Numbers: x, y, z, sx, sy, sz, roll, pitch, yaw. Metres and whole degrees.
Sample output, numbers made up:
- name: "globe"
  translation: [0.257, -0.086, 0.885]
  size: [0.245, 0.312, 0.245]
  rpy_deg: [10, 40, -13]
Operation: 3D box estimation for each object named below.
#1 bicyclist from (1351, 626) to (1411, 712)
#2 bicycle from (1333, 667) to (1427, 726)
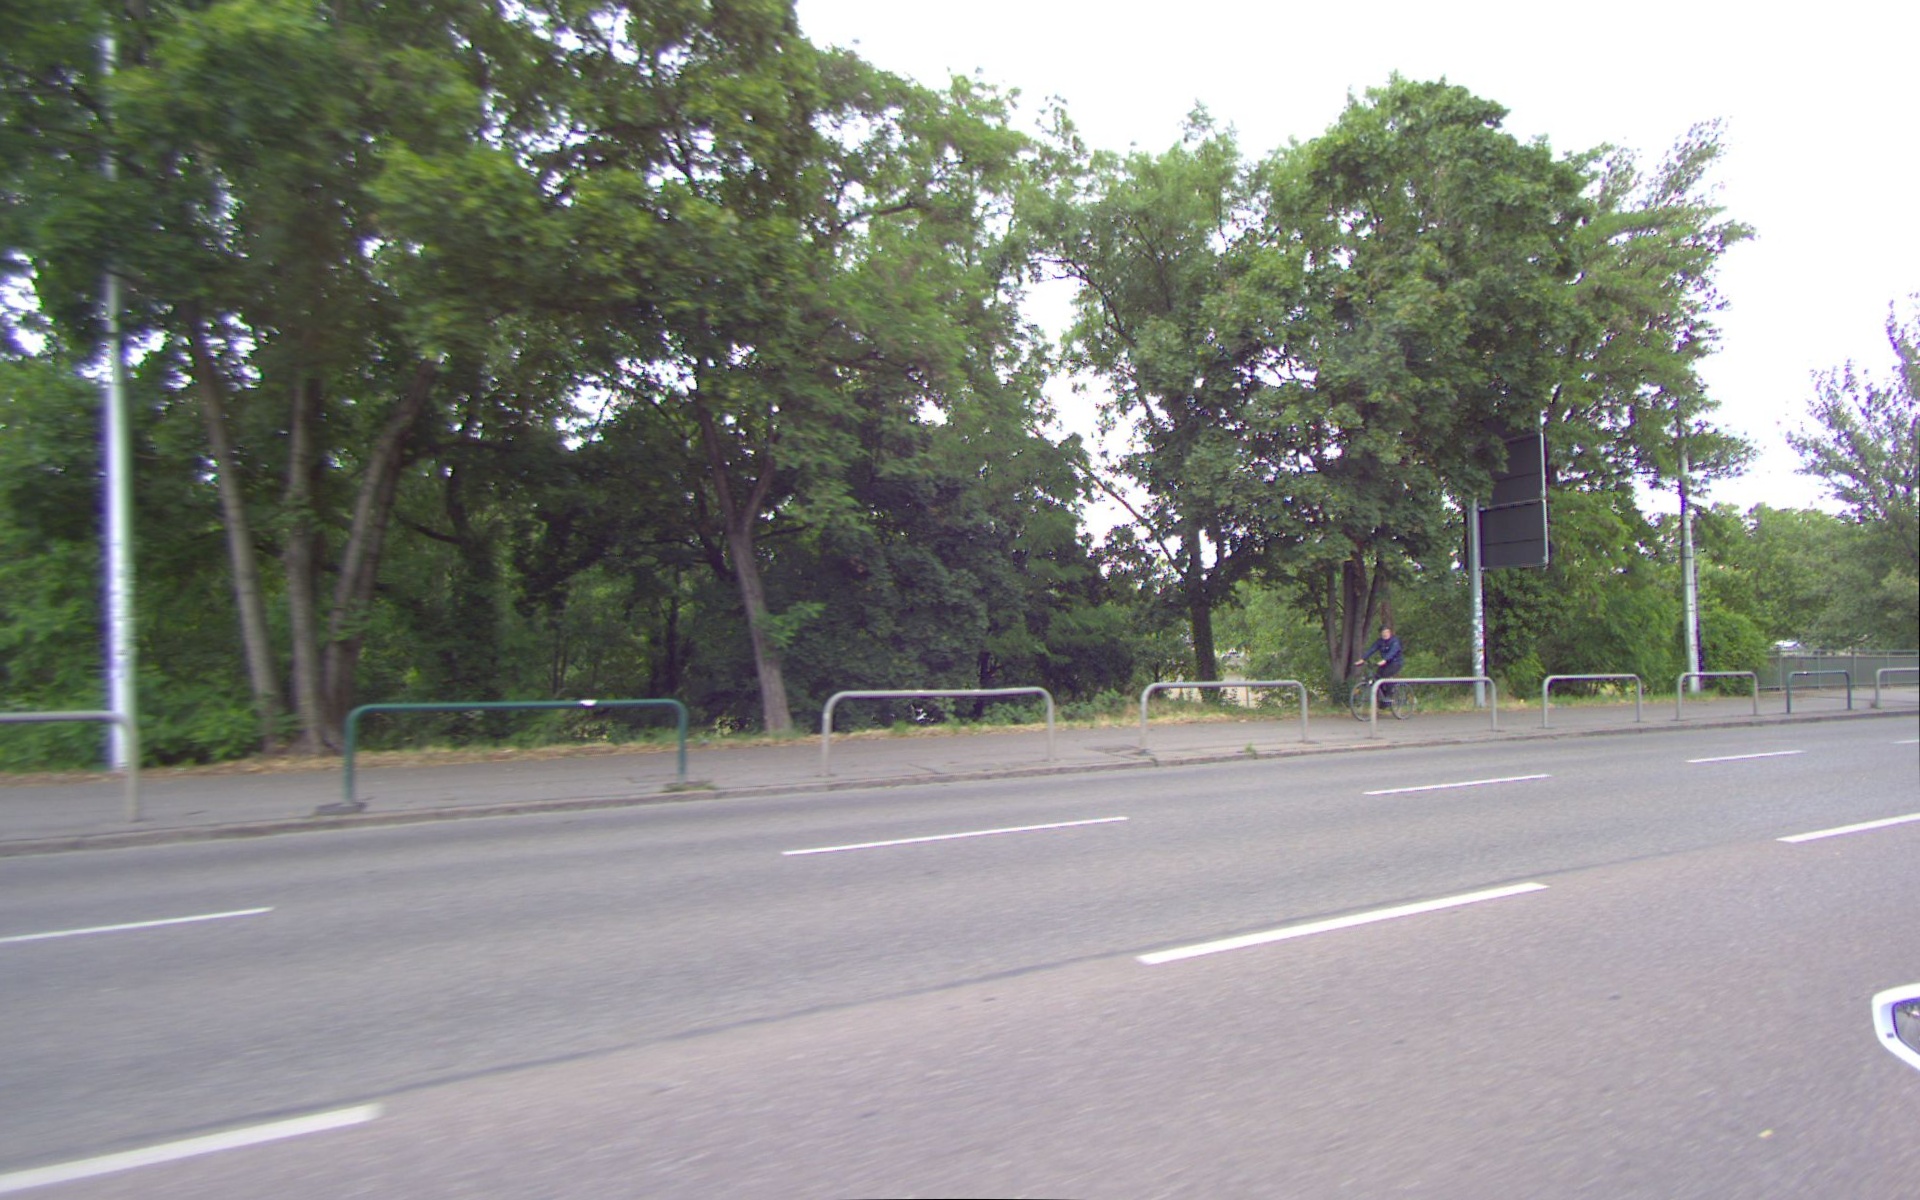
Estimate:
- name: "bicyclist"
  translation: [7.760, 1.258, 18.520]
  size: [0.972, 1.536, 0.512]
  rpy_deg: [1, -3, -30]
- name: "bicycle"
  translation: [7.749, 1.753, 18.509]
  size: [1.978, 1.015, 0.482]
  rpy_deg: [1, -3, -30]
